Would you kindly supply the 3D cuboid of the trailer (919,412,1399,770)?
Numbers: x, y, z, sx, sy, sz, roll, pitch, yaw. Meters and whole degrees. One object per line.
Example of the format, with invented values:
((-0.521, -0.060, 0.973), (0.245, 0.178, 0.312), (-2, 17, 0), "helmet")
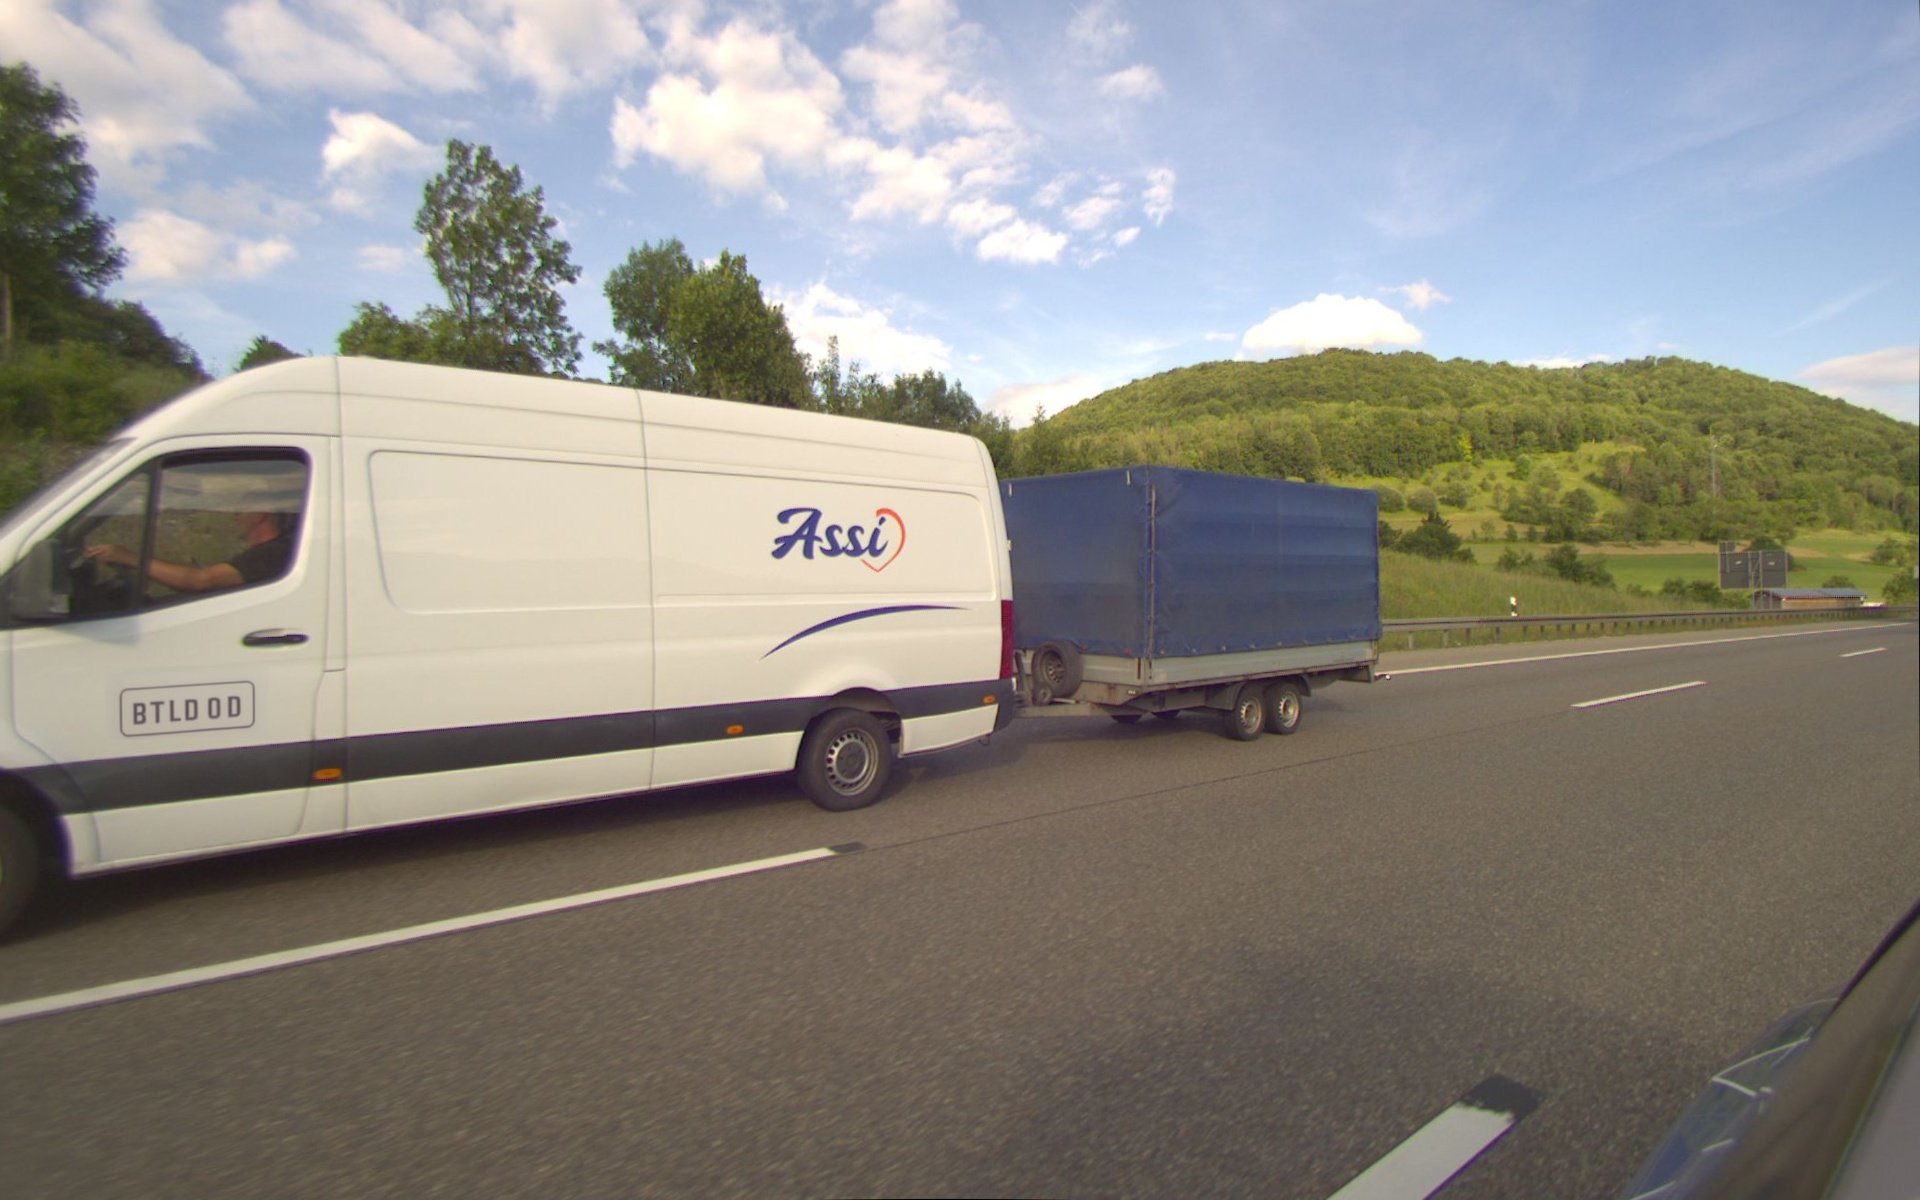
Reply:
((2.224, -0.092, 10.248), (5.156, 2.760, 1.997), (0, 0, -40), "trailer")

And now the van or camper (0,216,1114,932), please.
((-2.233, -0.104, 6.457), (7.389, 2.751, 1.997), (0, 0, -41), "van or camper")
